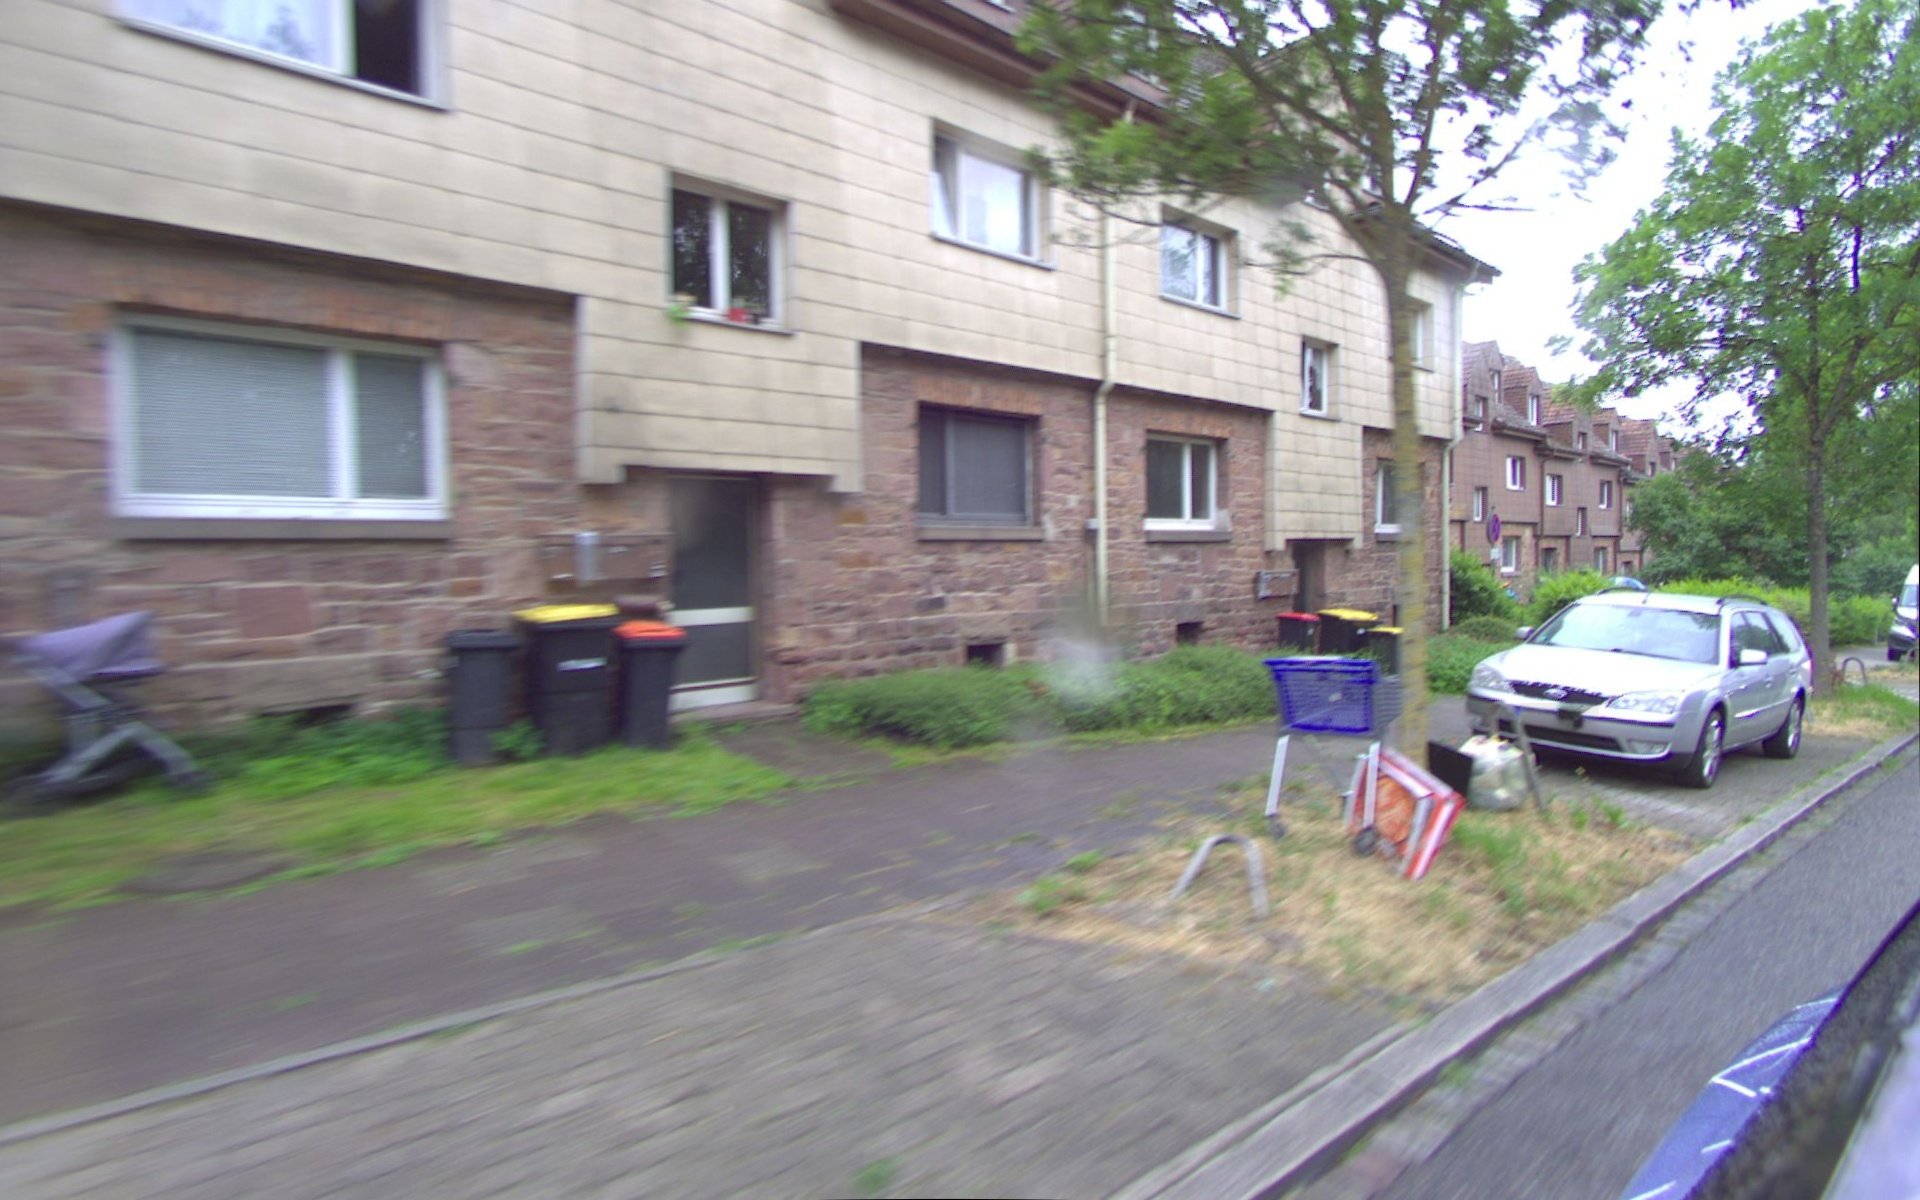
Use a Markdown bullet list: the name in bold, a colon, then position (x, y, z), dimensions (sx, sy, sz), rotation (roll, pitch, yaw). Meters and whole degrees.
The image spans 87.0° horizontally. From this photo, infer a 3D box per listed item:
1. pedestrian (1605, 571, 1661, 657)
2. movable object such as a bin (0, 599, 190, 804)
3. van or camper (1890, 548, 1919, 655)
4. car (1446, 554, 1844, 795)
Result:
- **pedestrian**: position (13.743, 0.274, 20.669), dimensions (0.641, 1.700, 0.710), rotation (2, 1, -35)
- **movable object such as a bin**: position (-4.620, 0.489, 5.263), dimensions (0.925, 0.977, 0.701), rotation (2, -1, -41)
- **van or camper**: position (27.312, 0.155, 27.401), dimensions (7.172, 2.684, 2.203), rotation (2, 2, -41)
- **car**: position (6.374, 0.541, 9.186), dimensions (4.559, 1.603, 1.706), rotation (2, 4, -40)
